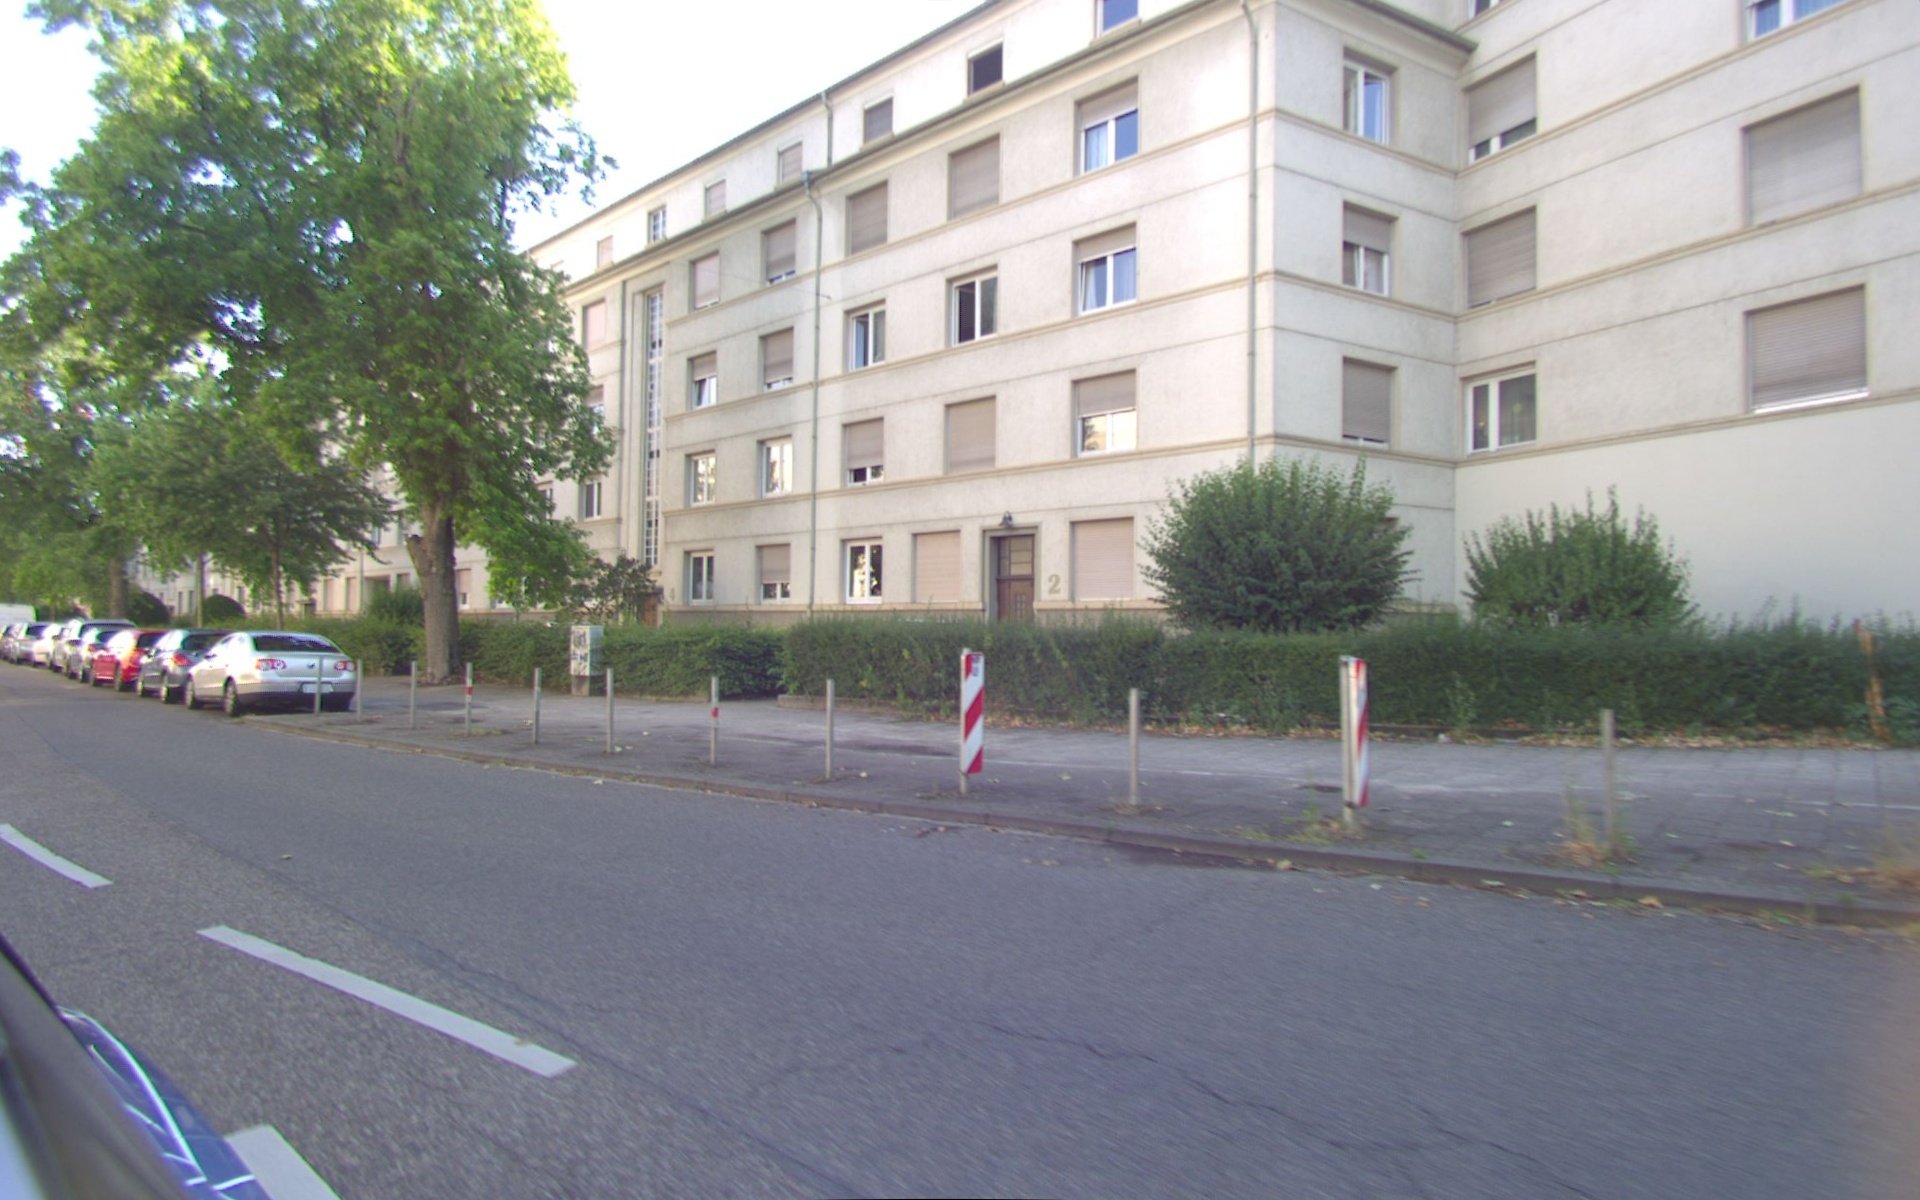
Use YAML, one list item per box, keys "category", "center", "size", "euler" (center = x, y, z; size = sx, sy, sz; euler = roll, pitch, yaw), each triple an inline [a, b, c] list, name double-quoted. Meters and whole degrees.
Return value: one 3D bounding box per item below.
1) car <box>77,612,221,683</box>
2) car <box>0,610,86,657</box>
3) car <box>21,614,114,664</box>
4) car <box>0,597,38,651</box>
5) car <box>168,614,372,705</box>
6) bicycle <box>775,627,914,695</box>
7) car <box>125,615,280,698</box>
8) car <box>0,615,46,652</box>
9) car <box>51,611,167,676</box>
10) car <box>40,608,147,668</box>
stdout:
- category: "car"
  center: [-19.725, 1.089, 24.565]
  size: [3.994, 1.570, 1.853]
  euler: [0, -1, 38]
- category: "car"
  center: [-35.426, 1.311, 39.003]
  size: [5.055, 1.570, 1.851]
  euler: [-2, -7, 42]
- category: "car"
  center: [-31.132, 1.376, 35.275]
  size: [4.099, 1.570, 1.851]
  euler: [-2, -6, 42]
- category: "car"
  center: [-47.461, 1.142, 49.842]
  size: [6.162, 2.464, 2.333]
  euler: [0, 2, 42]
- category: "car"
  center: [-12.493, 1.039, 18.205]
  size: [4.707, 1.363, 1.751]
  euler: [0, -5, 40]
- category: "bicycle"
  center: [-2.160, 1.131, 19.523]
  size: [0.760, 1.133, 3.051]
  euler: [0, 0, 38]
- category: "car"
  center: [-15.975, 1.158, 21.280]
  size: [4.128, 1.450, 1.686]
  euler: [0, -7, 42]
- category: "car"
  center: [-42.946, 1.469, 45.675]
  size: [4.344, 1.570, 1.936]
  euler: [0, -3, 41]
- category: "car"
  center: [-23.530, 1.124, 27.934]
  size: [4.496, 1.570, 1.851]
  euler: [1, 0, 42]
- category: "car"
  center: [-26.995, 1.108, 31.471]
  size: [4.972, 1.690, 1.896]
  euler: [0, 0, 42]
